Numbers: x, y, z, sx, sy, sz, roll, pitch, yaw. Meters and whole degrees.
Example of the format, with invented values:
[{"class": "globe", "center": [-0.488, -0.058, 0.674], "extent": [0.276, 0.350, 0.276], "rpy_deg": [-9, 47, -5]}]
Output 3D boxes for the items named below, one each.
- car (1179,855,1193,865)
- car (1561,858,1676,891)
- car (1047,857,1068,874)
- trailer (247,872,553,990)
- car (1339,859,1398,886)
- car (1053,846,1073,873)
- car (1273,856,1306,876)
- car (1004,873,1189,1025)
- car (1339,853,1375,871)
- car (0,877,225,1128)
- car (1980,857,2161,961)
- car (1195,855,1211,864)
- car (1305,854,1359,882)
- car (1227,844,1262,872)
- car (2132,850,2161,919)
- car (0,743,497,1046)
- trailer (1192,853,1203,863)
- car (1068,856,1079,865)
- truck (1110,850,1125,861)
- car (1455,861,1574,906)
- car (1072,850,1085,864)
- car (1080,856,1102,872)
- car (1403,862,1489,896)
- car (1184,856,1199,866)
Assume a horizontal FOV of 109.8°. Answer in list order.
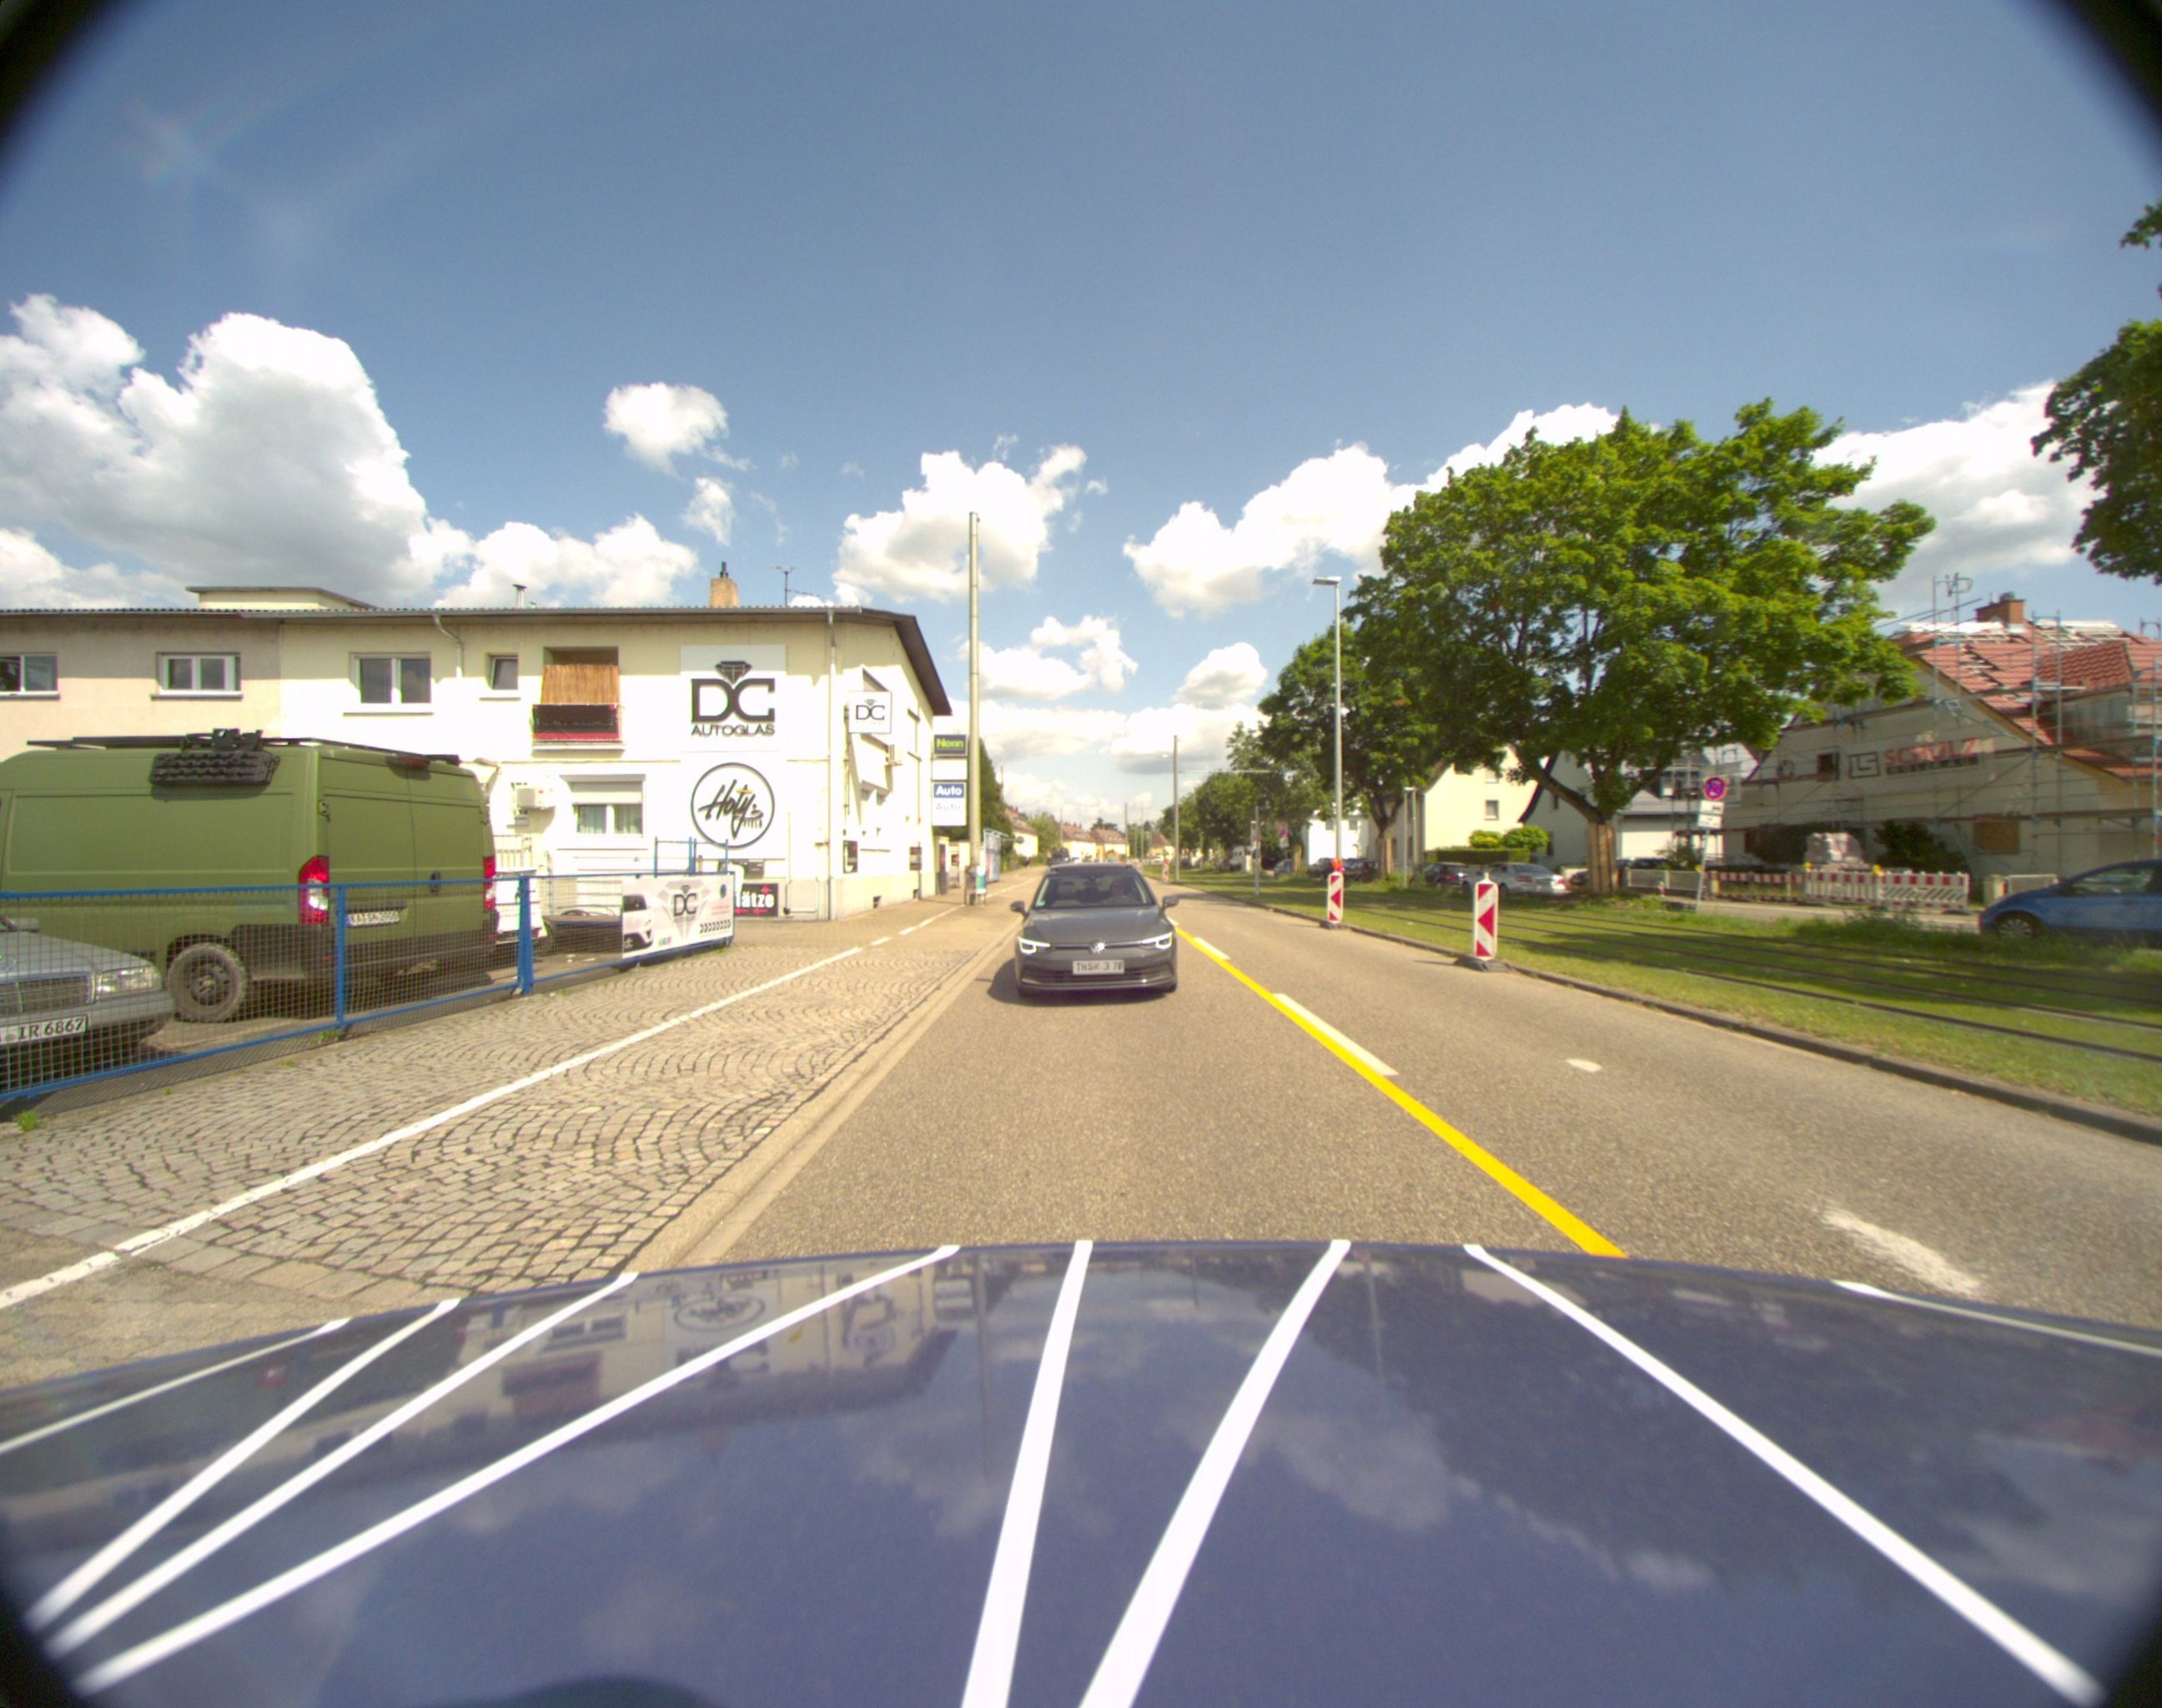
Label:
[{"class": "car", "center": [17.701, 0.949, 128.185], "extent": [1.998, 1.531, 4.322], "rpy_deg": [1, 1, 1]}, {"class": "car", "center": [25.084, 0.935, 35.547], "extent": [3.997, 1.393, 1.982], "rpy_deg": [-1, 1, 1]}, {"class": "car", "center": [-2.155, 1.062, 71.078], "extent": [1.655, 1.423, 4.096], "rpy_deg": [1, 1, 2]}, {"class": "trailer", "center": [-8.685, 0.949, 9.841], "extent": [2.789, 1.325, 1.302], "rpy_deg": [1, 2, 1]}, {"class": "car", "center": [16.936, 1.070, 44.949], "extent": [1.998, 1.430, 3.999], "rpy_deg": [1, 1, 0]}, {"class": "car", "center": [-1.893, 0.548, 81.837], "extent": [2.001, 2.744, 4.878], "rpy_deg": [1, 0, 1]}, {"class": "car", "center": [16.666, 0.932, 60.947], "extent": [1.758, 1.427, 3.889], "rpy_deg": [1, 1, 3]}, {"class": "car", "center": [0.123, 0.987, 9.656], "extent": [1.786, 1.412, 4.290], "rpy_deg": [-2, -1, -1]}, {"class": "car", "center": [25.444, 0.710, 70.221], "extent": [1.907, 1.568, 4.000], "rpy_deg": [1, 1, 1]}, {"class": "car", "center": [-8.368, 0.887, 4.832], "extent": [4.191, 1.423, 1.821], "rpy_deg": [0, 1, 8]}, {"class": "car", "center": [16.378, 0.807, 10.974], "extent": [1.999, 1.444, 3.999], "rpy_deg": [0, 1, -1]}, {"class": "car", "center": [17.194, 0.748, 107.187], "extent": [1.785, 1.087, 3.836], "rpy_deg": [1, 1, 0]}, {"class": "car", "center": [16.728, 0.906, 50.875], "extent": [1.999, 1.681, 4.390], "rpy_deg": [0, 1, -3]}, {"class": "car", "center": [16.837, 0.433, 78.544], "extent": [1.999, 2.714, 6.461], "rpy_deg": [1, 0, -1]}, {"class": "car", "center": [28.217, 0.759, 18.120], "extent": [3.656, 1.674, 1.873], "rpy_deg": [1, 1, 0]}, {"class": "car", "center": [-8.952, 0.319, 7.639], "extent": [4.547, 2.558, 2.151], "rpy_deg": [1, 1, 2]}, {"class": "trailer", "center": [17.278, 0.577, 112.674], "extent": [1.302, 1.510, 2.282], "rpy_deg": [1, 0, 0]}, {"class": "car", "center": [-1.185, 1.060, 122.983], "extent": [1.756, 1.480, 4.627], "rpy_deg": [1, 0, 1]}, {"class": "truck", "center": [9.793, 0.325, 201.179], "extent": [2.529, 2.931, 7.869], "rpy_deg": [1, 1, 14]}, {"class": "car", "center": [16.508, 1.055, 29.286], "extent": [1.809, 1.474, 4.939], "rpy_deg": [1, 1, 1]}, {"class": "car", "center": [-0.435, 0.533, 136.325], "extent": [1.923, 2.522, 5.346], "rpy_deg": [1, 0, 5]}, {"class": "car", "center": [1.016, 1.009, 76.251], "extent": [1.998, 1.566, 4.001], "rpy_deg": [0, 0, 3]}, {"class": "car", "center": [16.463, 1.075, 34.506], "extent": [1.998, 1.310, 3.852], "rpy_deg": [2, 1, 0]}, {"class": "car", "center": [17.809, 1.117, 122.833], "extent": [1.910, 1.568, 4.102], "rpy_deg": [3, -1, 2]}]
